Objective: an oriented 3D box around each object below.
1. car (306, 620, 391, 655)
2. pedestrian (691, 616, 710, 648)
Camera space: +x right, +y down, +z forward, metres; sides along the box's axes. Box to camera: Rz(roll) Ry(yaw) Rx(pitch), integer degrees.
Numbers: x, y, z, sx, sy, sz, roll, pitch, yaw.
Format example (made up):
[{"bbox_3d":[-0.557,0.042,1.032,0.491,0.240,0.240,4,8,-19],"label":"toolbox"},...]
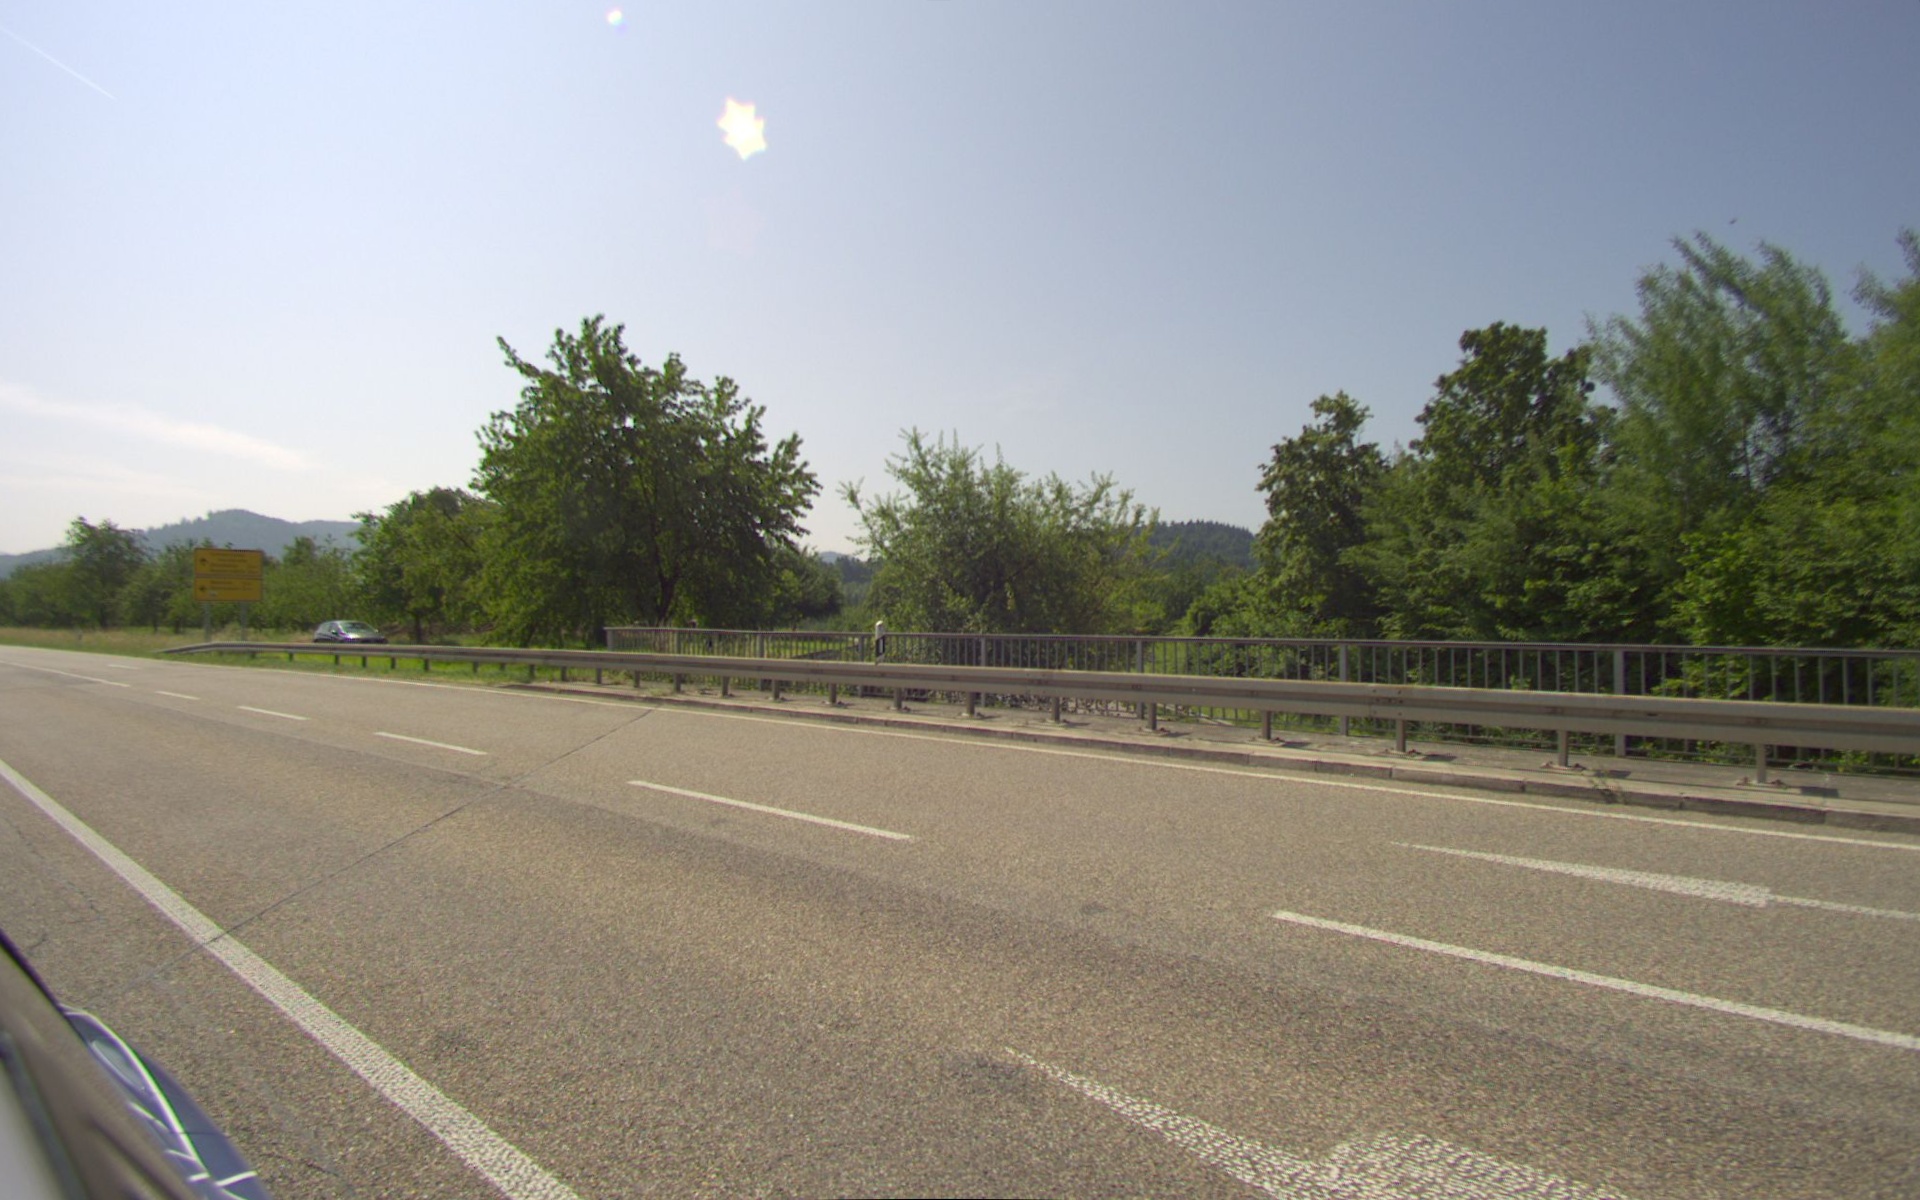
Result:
[{"bbox_3d":[-26.080,1.565,43.141,4.035,1.434,1.689,-1,-2,36],"label":"car"},{"bbox_3d":[-10.756,1.333,41.992,0.556,1.307,0.567,-1,-1,42],"label":"pedestrian"}]
